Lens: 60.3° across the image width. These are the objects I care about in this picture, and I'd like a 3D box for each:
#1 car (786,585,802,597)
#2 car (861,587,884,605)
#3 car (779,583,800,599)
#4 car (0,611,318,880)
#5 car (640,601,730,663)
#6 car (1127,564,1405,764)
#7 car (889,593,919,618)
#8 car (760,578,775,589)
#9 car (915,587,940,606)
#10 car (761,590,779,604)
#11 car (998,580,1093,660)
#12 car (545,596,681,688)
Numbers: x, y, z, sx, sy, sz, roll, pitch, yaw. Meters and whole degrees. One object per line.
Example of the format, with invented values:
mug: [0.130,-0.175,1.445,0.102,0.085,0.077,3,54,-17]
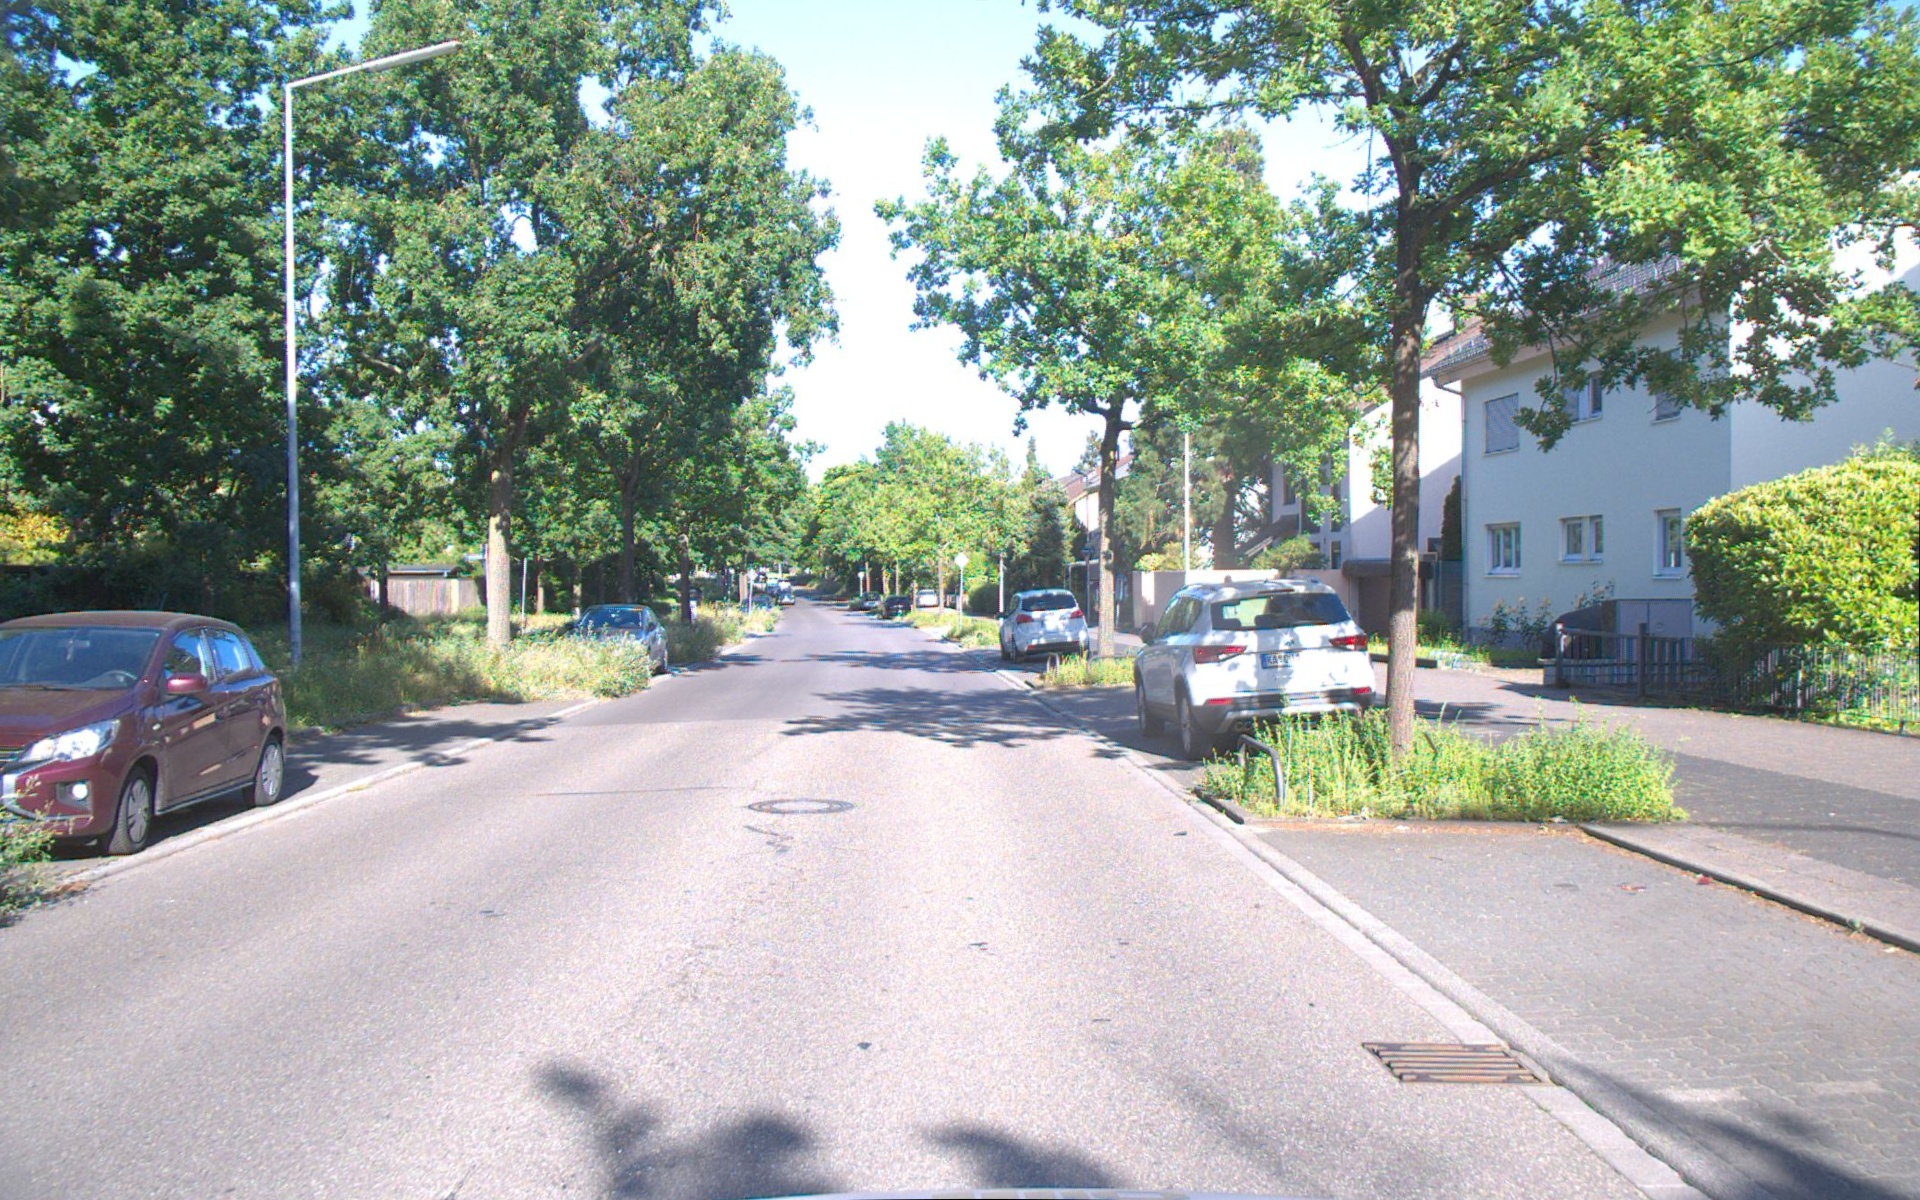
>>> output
car: [-21.432,-1.145,213.407,1.895,1.479,3.997,-1,0,-3]
car: [-7.221,-0.329,136.445,1.895,1.479,3.997,-1,0,-3]
car: [-16.109,-0.870,156.133,1.897,1.479,3.993,-1,0,-8]
car: [-6.087,0.863,11.488,1.897,1.505,3.997,-1,0,-4]
car: [-7.063,0.796,42.745,1.760,1.505,3.519,-1,0,-1]
car: [2.902,0.553,16.574,1.897,1.734,3.998,-1,0,-2]
car: [-3.672,0.322,107.992,1.894,1.569,3.998,-1,0,-2]
car: [-26.244,-2.276,225.421,1.720,1.479,3.997,-1,0,-3]
car: [-2.650,-0.288,134.010,1.895,1.479,3.997,-1,0,-3]
car: [-20.938,-0.373,182.053,1.720,1.479,3.997,-1,0,-3]
car: [1.968,0.436,39.137,1.894,1.773,3.998,-1,0,-2]
car: [-6.375,0.730,30.754,1.954,1.584,3.996,0,0,-4]
